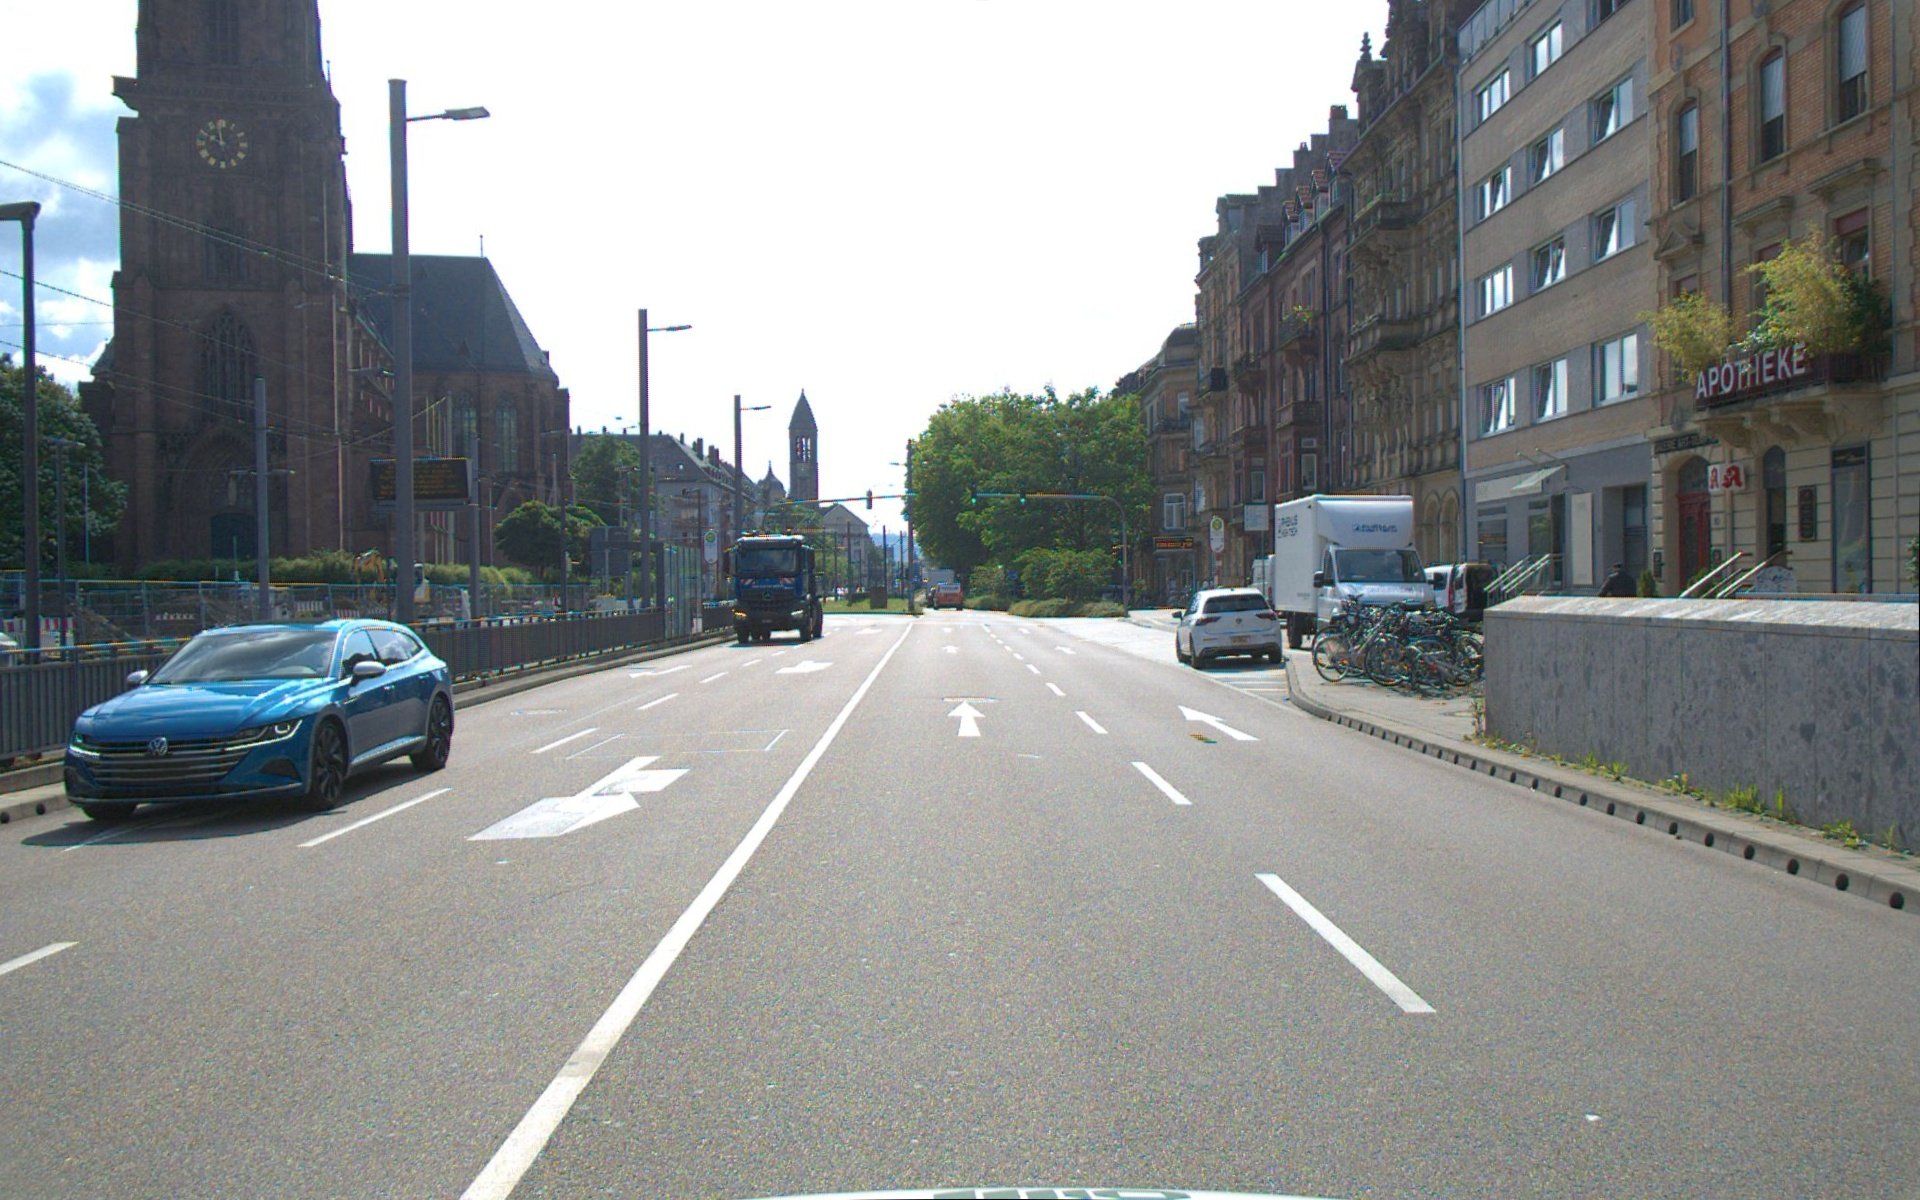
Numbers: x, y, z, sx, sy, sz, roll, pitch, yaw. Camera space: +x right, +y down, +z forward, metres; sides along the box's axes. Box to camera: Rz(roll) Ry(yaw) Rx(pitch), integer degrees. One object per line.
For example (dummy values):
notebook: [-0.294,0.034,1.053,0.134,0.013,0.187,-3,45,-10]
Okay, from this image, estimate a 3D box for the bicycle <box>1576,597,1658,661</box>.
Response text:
bicycle: [12.162,0.559,30.691,0.689,1.066,2.208,1,-4,1]

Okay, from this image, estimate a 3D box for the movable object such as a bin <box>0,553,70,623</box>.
movable object such as a bin: [-39.681,-0.477,68.251,4.803,2.851,2.000,-1,0,-1]

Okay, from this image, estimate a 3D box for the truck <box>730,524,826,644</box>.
truck: [-6.005,-0.523,55.567,2.413,3.712,7.449,-1,0,0]

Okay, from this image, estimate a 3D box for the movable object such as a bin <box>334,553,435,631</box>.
movable object such as a bin: [-28.984,-0.416,83.586,2.609,3.796,5.598,-1,0,7]

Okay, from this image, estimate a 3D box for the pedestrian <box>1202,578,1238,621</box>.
pedestrian: [8.139,-0.011,51.832,0.737,1.339,0.810,2,-1,-39]

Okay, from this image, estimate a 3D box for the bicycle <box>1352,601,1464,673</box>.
bicycle: [7.056,0.575,26.057,1.728,1.104,0.371,0,1,-13]

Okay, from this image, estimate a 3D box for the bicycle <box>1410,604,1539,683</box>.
bicycle: [7.355,0.615,23.680,1.722,1.104,0.372,0,1,1]

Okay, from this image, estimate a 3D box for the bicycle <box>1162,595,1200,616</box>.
bicycle: [12.931,0.326,96.820,2.147,1.201,0.683,-1,0,-6]

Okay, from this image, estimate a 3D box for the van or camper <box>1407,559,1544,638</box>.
van or camper: [14.122,-0.043,45.674,1.953,1.938,5.297,-3,0,-1]

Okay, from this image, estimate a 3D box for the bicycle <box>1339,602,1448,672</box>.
bicycle: [6.945,0.585,26.503,1.728,1.104,0.371,0,1,-13]

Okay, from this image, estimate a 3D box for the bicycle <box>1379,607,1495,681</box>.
bicycle: [7.289,0.659,25.267,1.726,1.104,0.371,0,1,-11]

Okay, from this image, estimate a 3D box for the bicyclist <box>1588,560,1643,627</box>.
bicyclist: [12.175,-0.112,30.737,0.693,1.168,0.813,1,-4,1]

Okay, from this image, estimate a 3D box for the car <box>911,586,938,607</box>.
car: [-2.718,-0.311,126.741,1.954,1.534,3.998,-1,0,-3]

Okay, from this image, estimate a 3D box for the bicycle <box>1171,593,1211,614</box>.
bicycle: [13.209,0.189,94.735,2.147,1.201,0.683,-1,0,-6]

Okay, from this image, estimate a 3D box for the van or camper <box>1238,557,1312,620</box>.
van or camper: [13.209,-0.487,69.714,1.953,2.517,5.564,-1,0,-1]

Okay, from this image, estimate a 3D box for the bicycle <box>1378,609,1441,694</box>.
bicycle: [6.251,0.696,23.077,0.364,1.090,1.764,0,1,-1]

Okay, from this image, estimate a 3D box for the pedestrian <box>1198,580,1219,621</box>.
pedestrian: [12.719,0.030,84.661,0.868,2.049,0.996,1,-1,-1]

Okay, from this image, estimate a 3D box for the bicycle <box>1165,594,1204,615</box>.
bicycle: [13.020,0.277,96.085,2.147,1.201,0.683,-1,0,-6]

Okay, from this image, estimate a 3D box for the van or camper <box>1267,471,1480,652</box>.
van or camper: [8.575,-0.719,35.323,2.656,3.389,7.640,-1,0,1]

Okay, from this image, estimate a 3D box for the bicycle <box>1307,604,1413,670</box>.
bicycle: [6.765,0.617,28.001,1.724,1.104,0.372,0,1,-7]

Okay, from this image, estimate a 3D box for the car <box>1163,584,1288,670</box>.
car: [5.220,0.527,33.012,1.754,1.462,4.343,-5,-1,1]

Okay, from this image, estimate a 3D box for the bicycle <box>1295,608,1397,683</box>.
bicycle: [5.901,0.685,25.280,1.573,1.104,0.370,0,1,-20]

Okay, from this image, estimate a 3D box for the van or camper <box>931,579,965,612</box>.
van or camper: [-0.873,-0.293,114.812,1.969,1.948,4.517,1,-4,-5]

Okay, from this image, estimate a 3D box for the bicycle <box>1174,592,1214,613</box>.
bicycle: [13.290,0.138,93.972,2.147,1.201,0.683,-1,0,-6]

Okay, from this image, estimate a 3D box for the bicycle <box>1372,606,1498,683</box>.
bicycle: [6.919,0.640,24.134,1.722,1.104,0.372,0,1,1]

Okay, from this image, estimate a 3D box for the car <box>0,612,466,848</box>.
car: [-5.723,0.918,13.752,1.812,1.481,4.555,-2,1,0]

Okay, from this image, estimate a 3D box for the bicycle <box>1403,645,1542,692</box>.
bicycle: [6.976,0.921,22.564,0.632,0.596,1.744,-1,0,-40]

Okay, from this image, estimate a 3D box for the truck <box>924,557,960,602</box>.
truck: [-1.548,-1.771,146.911,3.105,3.344,7.294,0,-5,0]

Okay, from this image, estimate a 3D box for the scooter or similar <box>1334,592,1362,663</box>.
scooter or similar: [6.915,0.485,29.504,0.361,1.235,1.253,1,0,8]

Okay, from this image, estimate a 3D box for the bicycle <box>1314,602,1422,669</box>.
bicycle: [6.796,0.586,27.554,1.724,1.104,0.372,0,1,-7]
